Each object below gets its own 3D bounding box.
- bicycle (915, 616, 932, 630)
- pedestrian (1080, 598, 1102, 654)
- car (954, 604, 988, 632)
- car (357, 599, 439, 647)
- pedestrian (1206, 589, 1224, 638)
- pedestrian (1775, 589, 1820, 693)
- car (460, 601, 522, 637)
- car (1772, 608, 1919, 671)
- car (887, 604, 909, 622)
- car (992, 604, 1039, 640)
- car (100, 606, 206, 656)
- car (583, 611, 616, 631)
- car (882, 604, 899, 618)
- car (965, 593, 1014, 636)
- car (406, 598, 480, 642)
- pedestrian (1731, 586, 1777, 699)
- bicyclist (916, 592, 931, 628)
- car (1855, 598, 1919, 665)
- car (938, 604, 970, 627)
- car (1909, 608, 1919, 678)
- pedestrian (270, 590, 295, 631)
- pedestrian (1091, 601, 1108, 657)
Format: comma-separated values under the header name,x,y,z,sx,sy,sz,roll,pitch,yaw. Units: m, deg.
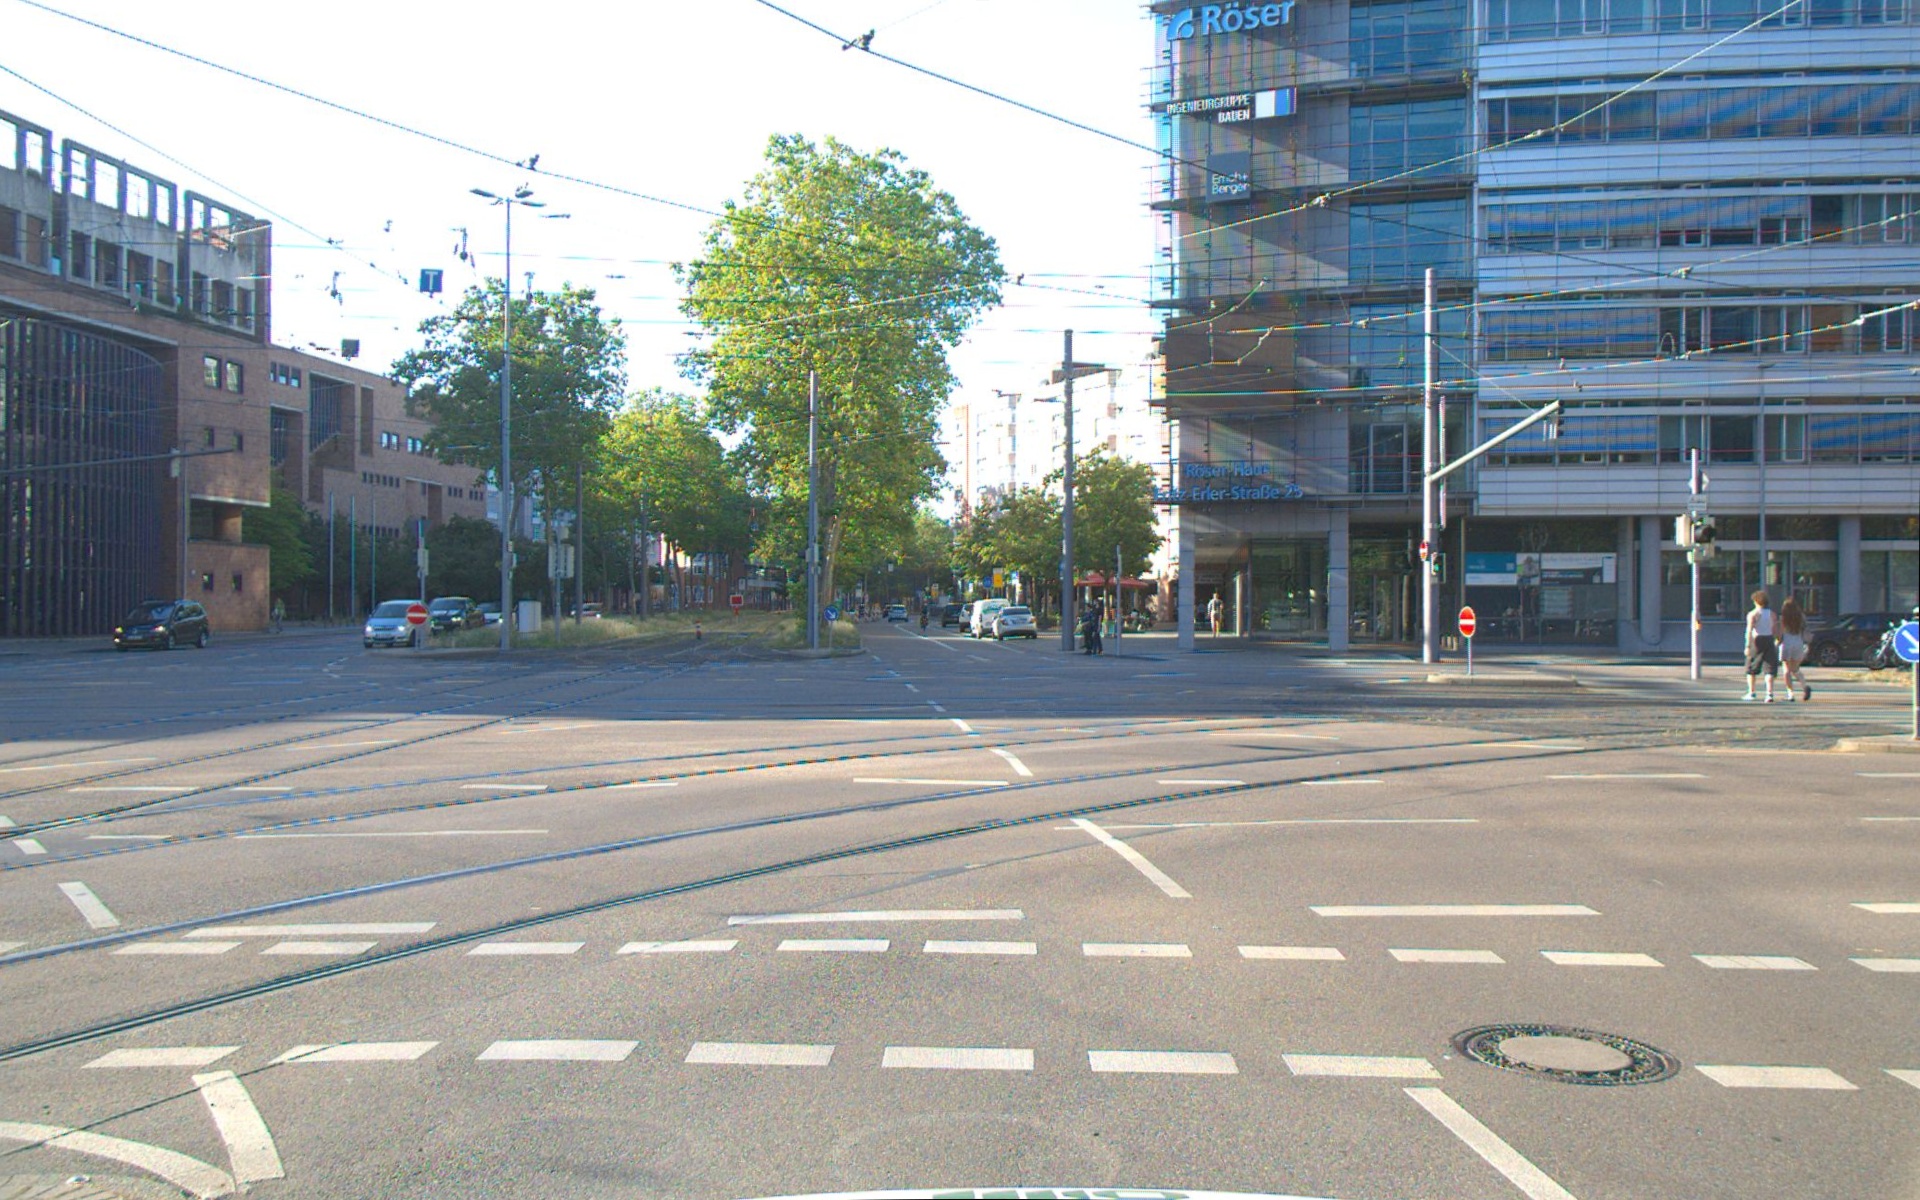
name,x,y,z,sx,sy,sz,roll,pitch,yaw
bicycle,-2.135,1.328,96.045,0.800,0.788,1.731,0,0,4
pedestrian,4.422,0.878,55.796,0.534,1.856,0.586,0,-1,-20
car,0.622,1.026,96.807,1.816,1.579,4.323,0,0,-2
car,-19.958,0.800,58.895,1.696,1.625,4.322,0,0,-4
pedestrian,10.738,0.580,69.648,0.660,2.049,0.515,0,-1,-1
pedestrian,14.173,0.683,28.011,0.633,1.717,0.845,0,-1,25
car,-21.015,0.848,74.280,1.817,1.579,4.322,0,0,-4
car,25.213,1.092,46.314,4.069,1.650,1.906,1,0,8
car,-5.531,1.130,147.456,1.816,1.579,4.324,0,0,-1
car,2.462,0.962,74.489,1.816,1.579,4.323,0,0,-2
car,-28.676,1.084,58.926,1.797,1.683,4.497,-1,0,-4
car,-22.968,1.338,105.270,1.812,1.243,3.982,0,0,-16
car,-7.774,1.254,186.191,1.816,1.579,4.324,0,0,-1
car,1.440,0.697,81.164,1.955,2.049,4.380,0,0,-5
car,-20.611,0.769,66.112,1.817,1.679,4.322,0,0,-4
pedestrian,13.455,0.714,28.048,0.683,1.875,0.966,0,-1,25
bicyclist,-2.128,0.570,96.046,0.736,2.049,0.744,1,-1,4
car,24.849,0.809,41.505,3.771,1.650,1.906,1,0,8
car,-0.443,1.094,118.262,2.216,1.579,4.325,0,0,0
car,24.740,1.049,38.261,4.413,1.650,1.906,1,0,8
pedestrian,-33.399,0.516,81.589,0.878,2.049,0.758,0,-1,3
pedestrian,4.638,0.957,54.995,0.367,1.856,0.543,0,-1,-19
